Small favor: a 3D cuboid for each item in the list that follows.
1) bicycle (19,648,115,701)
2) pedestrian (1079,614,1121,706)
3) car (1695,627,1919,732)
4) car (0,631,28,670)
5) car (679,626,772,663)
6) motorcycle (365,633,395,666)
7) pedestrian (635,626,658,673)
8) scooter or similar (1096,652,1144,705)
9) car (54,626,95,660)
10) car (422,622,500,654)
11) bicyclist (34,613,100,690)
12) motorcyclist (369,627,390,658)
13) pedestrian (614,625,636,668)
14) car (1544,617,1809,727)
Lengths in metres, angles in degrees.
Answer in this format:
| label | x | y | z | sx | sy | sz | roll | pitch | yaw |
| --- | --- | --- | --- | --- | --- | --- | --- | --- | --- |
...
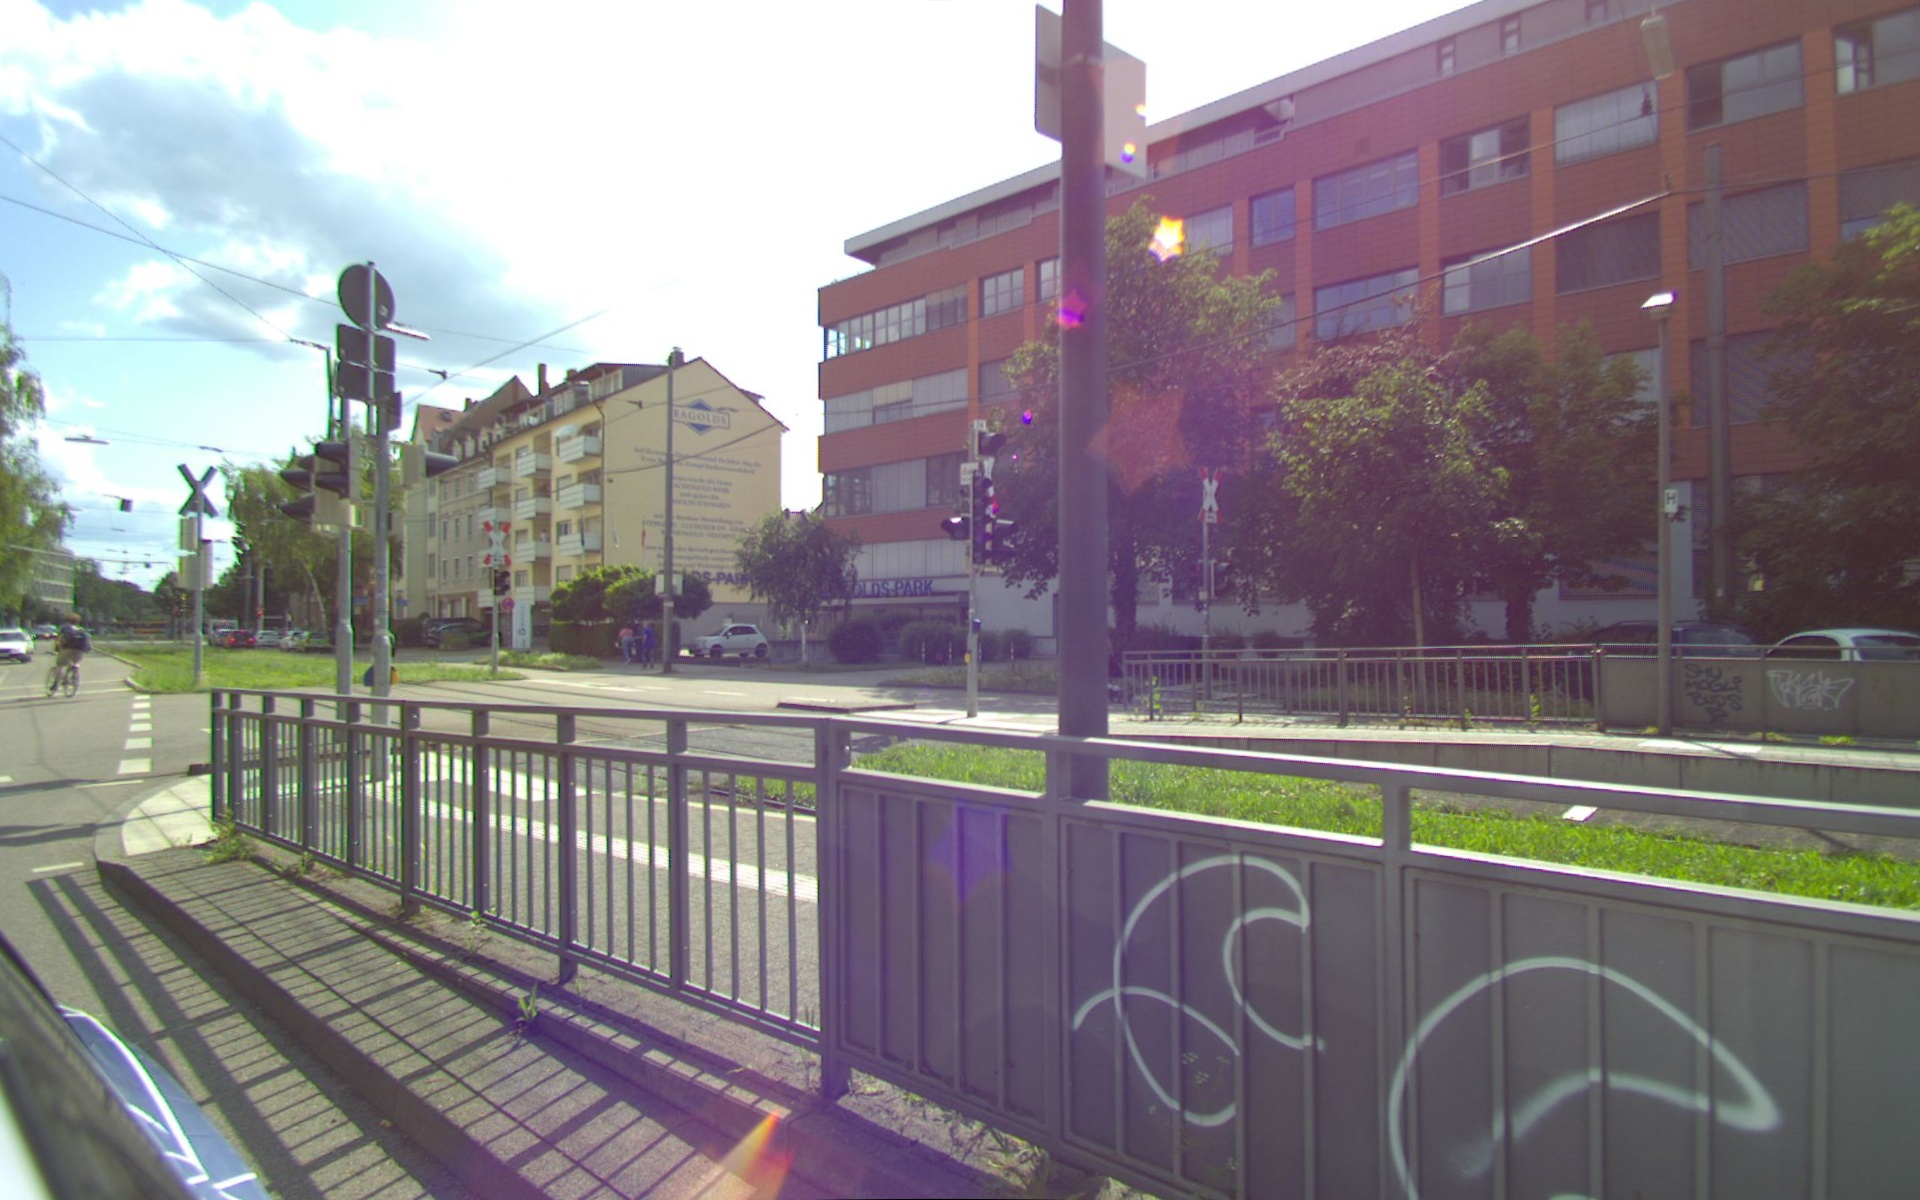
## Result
| label | x | y | z | sx | sy | sz | roll | pitch | yaw |
| --- | --- | --- | --- | --- | --- | --- | --- | --- | --- |
| bicycle | -20.777 | 1.739 | 23.533 | 2.559 | 1.112 | 0.765 | -3 | 1 | 28 |
| pedestrian | 2.829 | 1.205 | 20.419 | 0.619 | 1.807 | 0.651 | -2 | -4 | 36 |
| car | 14.278 | 1.210 | 16.617 | 1.630 | 1.508 | 3.995 | 0 | -2 | 4 |
| car | -43.046 | 2.258 | 45.221 | 3.815 | 1.627 | 1.823 | -1 | 0 | 44 |
| car | -10.318 | 1.948 | 44.553 | 3.557 | 1.491 | 1.777 | 1 | -6 | -42 |
| motorcycle | -26.556 | 2.257 | 46.298 | 2.010 | 1.414 | 0.626 | -1 | 0 | 44 |
| pedestrian | -11.573 | 1.814 | 37.333 | 0.481 | 1.723 | 0.641 | -2 | -3 | 42 |
| scooter or similar | 3.343 | 1.633 | 21.127 | 0.619 | 1.063 | 0.976 | -2 | -4 | 35 |
| car | -57.747 | 2.788 | 65.966 | 1.969 | 2.029 | 4.005 | -1 | 0 | -42 |
| car | -32.589 | 2.477 | 66.103 | 4.195 | 2.029 | 2.003 | 1 | -2 | -40 |
| bicyclist | -20.691 | 1.185 | 23.450 | 0.946 | 1.686 | 0.766 | -3 | 1 | 28 |
| motorcyclist | -26.530 | 1.931 | 46.271 | 0.693 | 1.368 | 0.654 | -1 | 0 | 43 |
| pedestrian | -13.376 | 1.857 | 40.450 | 0.588 | 1.723 | 0.641 | -2 | -3 | 42 |
| car | 12.064 | 1.161 | 17.410 | 1.850 | 1.671 | 3.840 | 0 | -2 | 2 |
